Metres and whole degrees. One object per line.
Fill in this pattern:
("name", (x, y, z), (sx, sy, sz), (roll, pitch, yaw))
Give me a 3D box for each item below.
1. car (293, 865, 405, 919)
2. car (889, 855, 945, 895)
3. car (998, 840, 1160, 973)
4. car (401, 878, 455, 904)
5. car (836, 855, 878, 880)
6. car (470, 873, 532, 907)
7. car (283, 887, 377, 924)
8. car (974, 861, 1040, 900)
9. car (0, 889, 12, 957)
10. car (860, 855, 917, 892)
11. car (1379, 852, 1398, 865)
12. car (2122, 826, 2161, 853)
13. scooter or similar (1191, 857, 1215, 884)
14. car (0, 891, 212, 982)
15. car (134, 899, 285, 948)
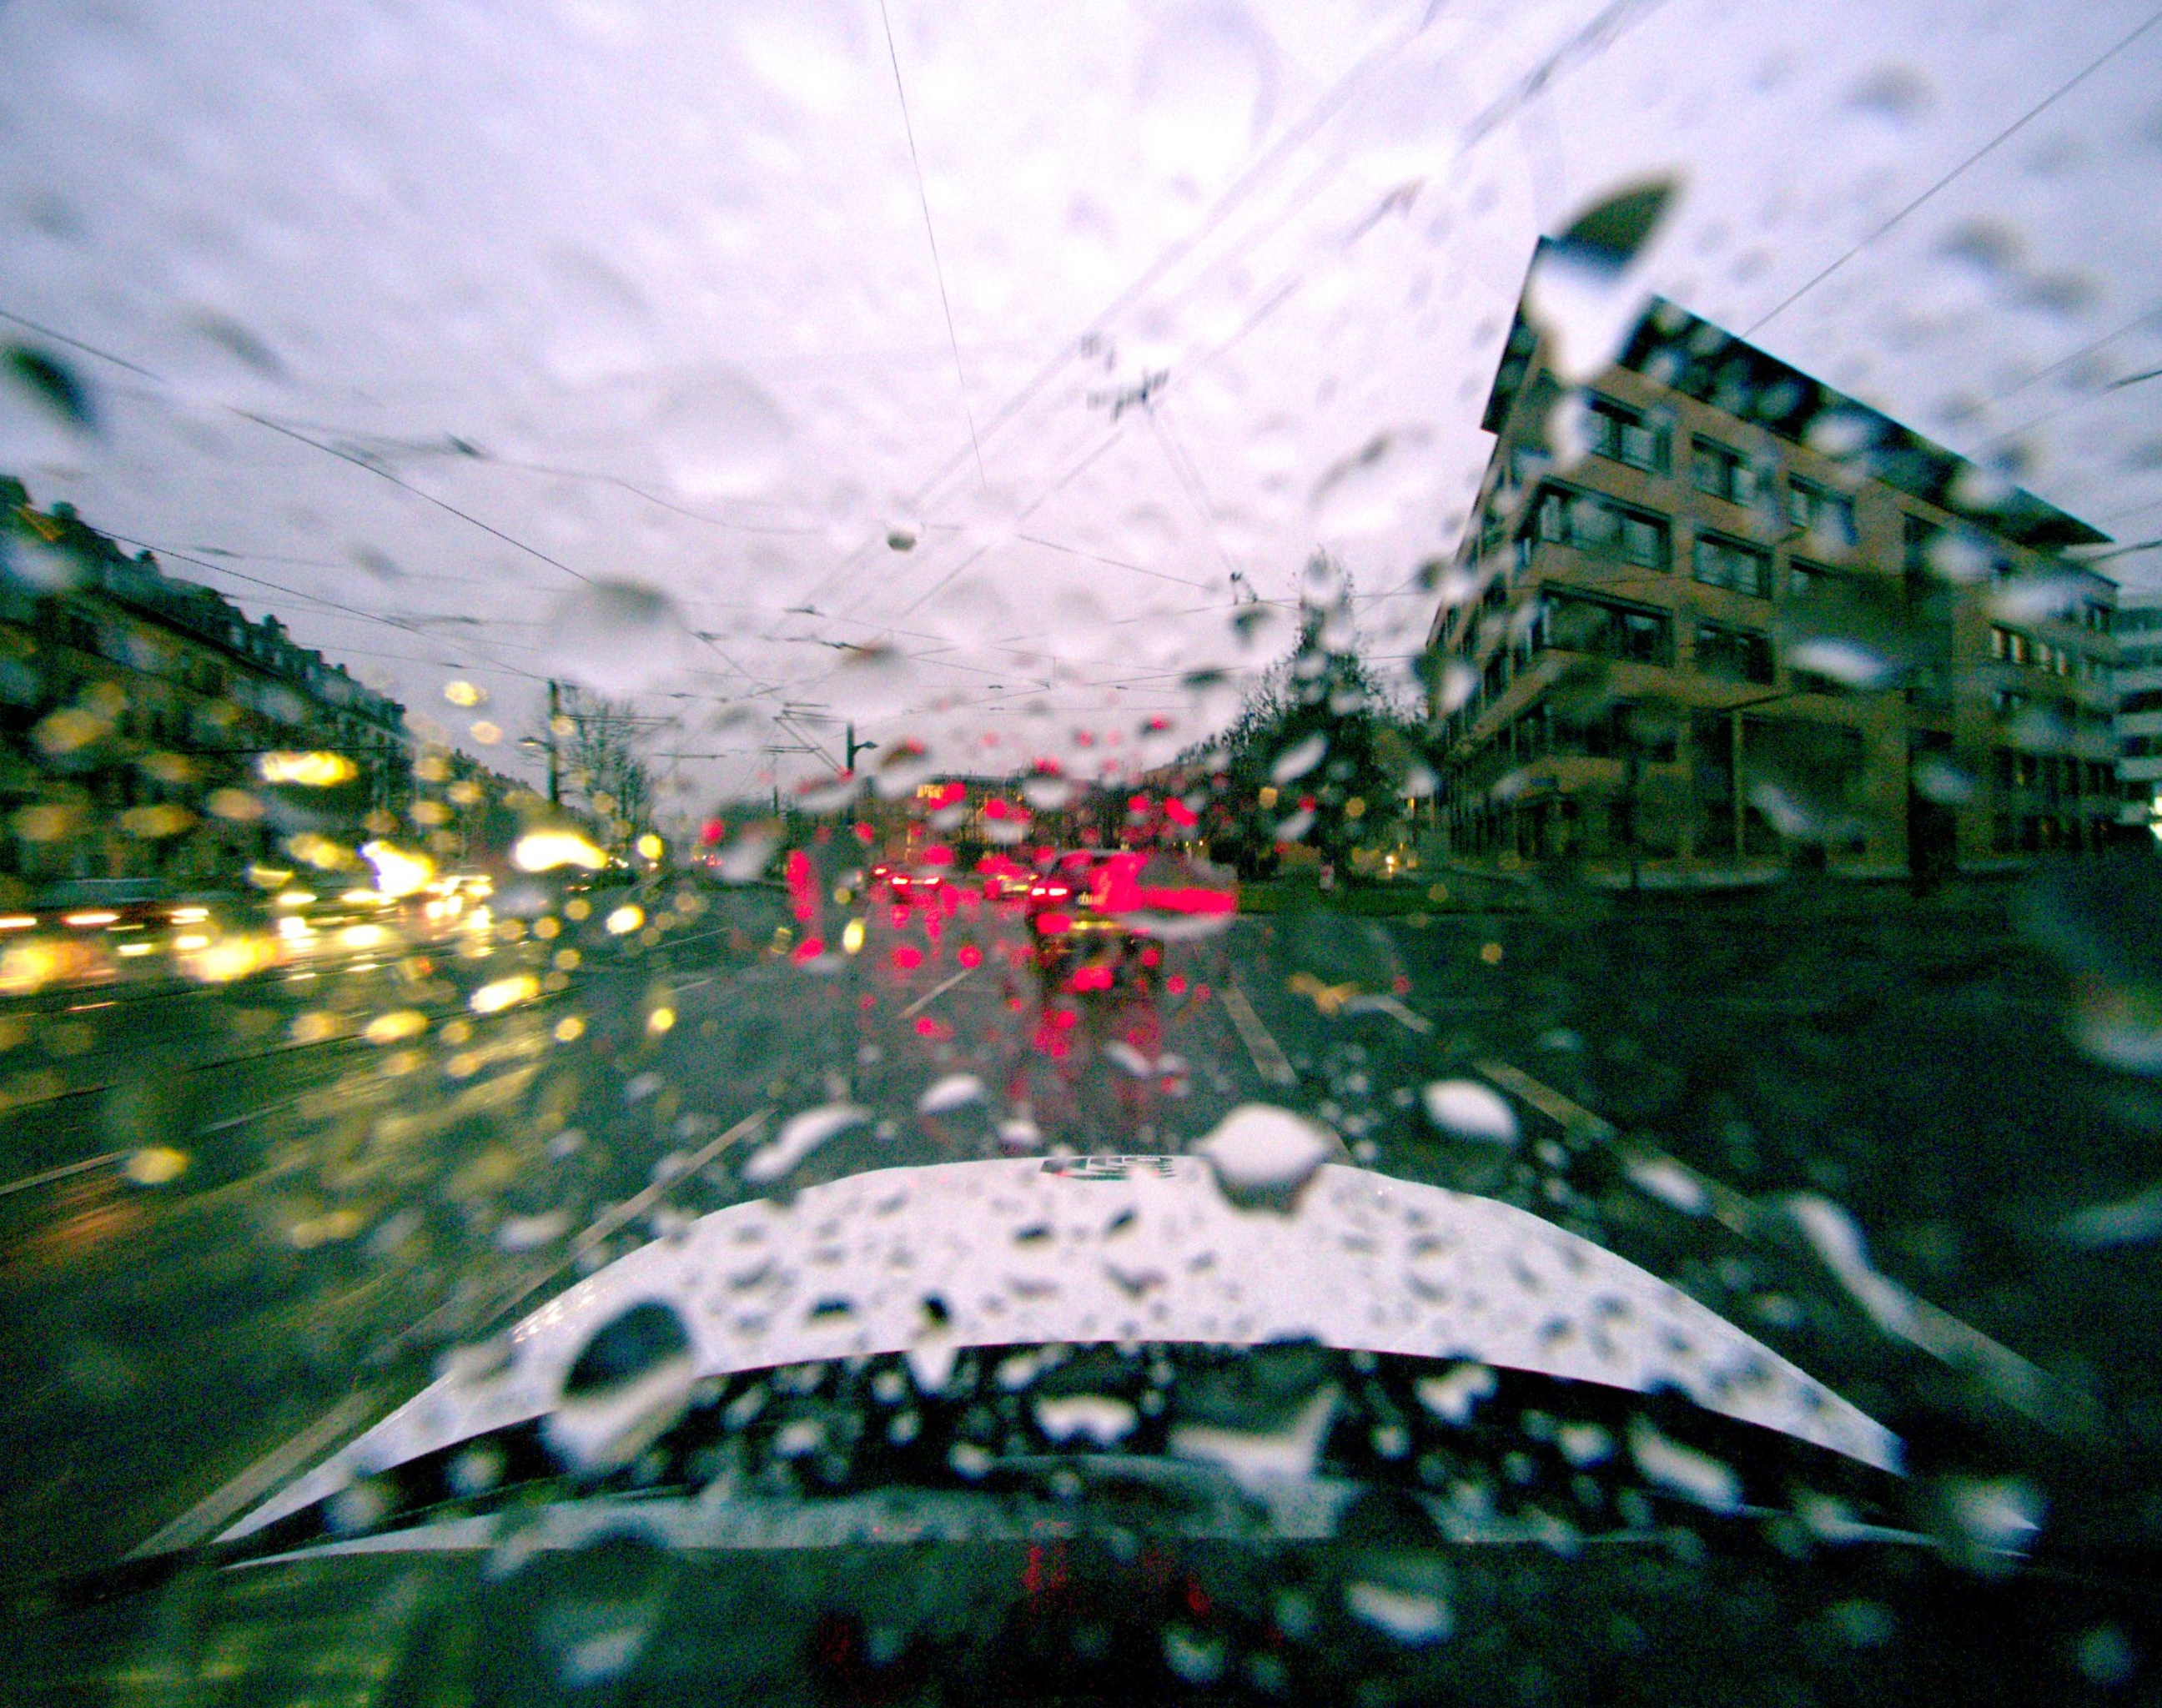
("car", (-23.799, 1.163, 26.648), (1.689, 1.553, 4.086), (-1, 0, -27))
("car", (-6.386, 0.769, 31.585), (1.995, 1.398, 3.983), (-1, 0, -13))
("car", (0.012, 0.641, 12.201), (1.984, 1.616, 4.001), (-1, 0, 1))
("car", (-36.085, 2.024, 45.082), (1.545, 1.226, 4.051), (-2, 0, -27))
("car", (-15.862, 0.936, 57.473), (2.005, 1.618, 3.963), (-1, 0, -28))
("car", (-24.394, 1.473, 34.383), (1.545, 1.245, 4.051), (-2, 0, -27))
("car", (-30.647, 2.052, 33.374), (1.543, 1.226, 4.055), (-2, 0, -24))
("car", (-3.134, 1.043, 33.787), (1.998, 1.408, 3.978), (-1, 0, -16))
("car", (-21.855, 1.398, 14.261), (1.686, 1.354, 4.357), (-1, 0, -20))
("car", (-9.997, 0.945, 42.047), (2.004, 1.765, 3.965), (-1, 0, -27))
("car", (29.803, 0.460, 79.015), (1.653, 1.180, 3.726), (-1, 0, 19))
("car", (59.735, -0.820, 45.001), (3.934, 1.440, 1.983), (-1, 0, -27))
("scooter or similar", (5.721, 0.746, 38.250), (1.152, 1.232, 0.482), (-1, 0, -43))
("car", (-19.521, 1.567, 16.390), (1.492, 1.487, 3.132), (-1, 0, -20))
("car", (-26.110, 2.042, 24.578), (1.606, 1.134, 3.762), (-1, 0, -21))
